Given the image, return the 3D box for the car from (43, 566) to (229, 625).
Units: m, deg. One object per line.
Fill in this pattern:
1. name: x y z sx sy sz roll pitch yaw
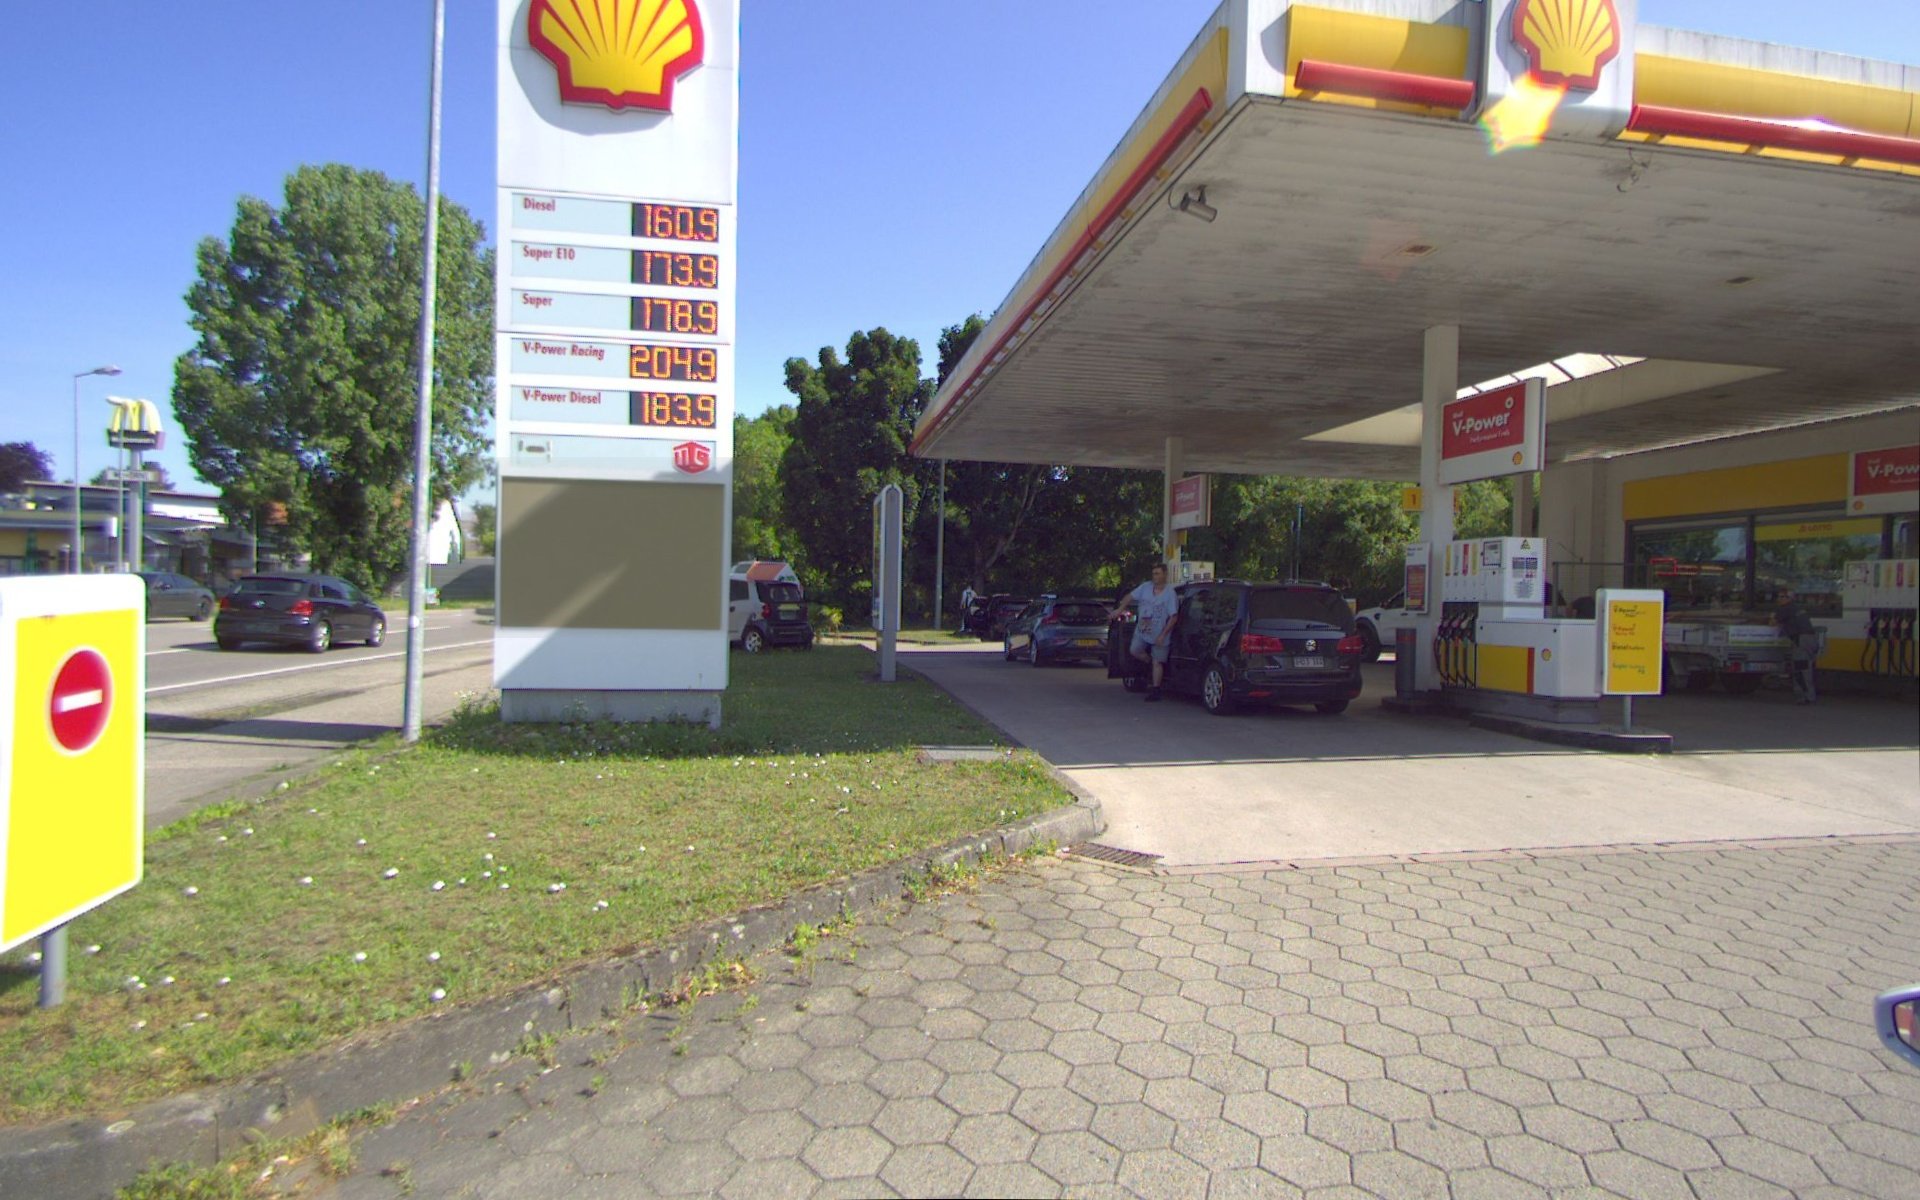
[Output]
1. car: -22.802 -0.102 28.093 1.819 1.516 4.903 0 0 -10

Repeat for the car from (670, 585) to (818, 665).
1. car: -4.537 0.514 21.071 2.685 1.550 1.573 1 -2 34

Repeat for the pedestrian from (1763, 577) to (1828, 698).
1. pedestrian: 11.920 0.524 14.345 0.467 1.690 0.500 1 0 -9

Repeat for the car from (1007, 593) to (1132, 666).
1. car: 2.215 0.575 21.318 1.770 1.379 3.843 1 0 -7

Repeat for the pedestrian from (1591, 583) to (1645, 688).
1. pedestrian: 10.352 0.556 15.804 0.491 1.614 0.475 1 0 -6

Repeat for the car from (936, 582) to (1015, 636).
1. car: 0.484 0.324 36.907 1.966 1.789 3.990 3 -1 -12

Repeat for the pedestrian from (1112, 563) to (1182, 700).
1. pedestrian: 2.472 0.412 13.344 0.662 1.752 0.811 1 0 -7

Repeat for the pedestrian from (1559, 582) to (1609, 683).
1. pedestrian: 10.386 0.535 16.718 0.491 1.653 0.475 1 0 -6

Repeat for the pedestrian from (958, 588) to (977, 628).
1. pedestrian: 0.304 0.317 39.817 0.665 1.557 0.393 1 0 -6

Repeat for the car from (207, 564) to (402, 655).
1. car: -12.365 0.152 19.261 1.622 1.450 4.047 4 0 -11

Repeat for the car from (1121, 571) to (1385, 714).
1. car: 3.645 0.489 13.267 1.734 1.599 3.869 1 0 -11

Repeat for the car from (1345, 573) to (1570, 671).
1. car: 10.572 0.427 21.823 1.824 1.862 4.770 1 0 -11

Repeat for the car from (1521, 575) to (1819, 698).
1. car: 11.418 0.558 16.550 1.799 1.751 3.996 1 -1 -6
